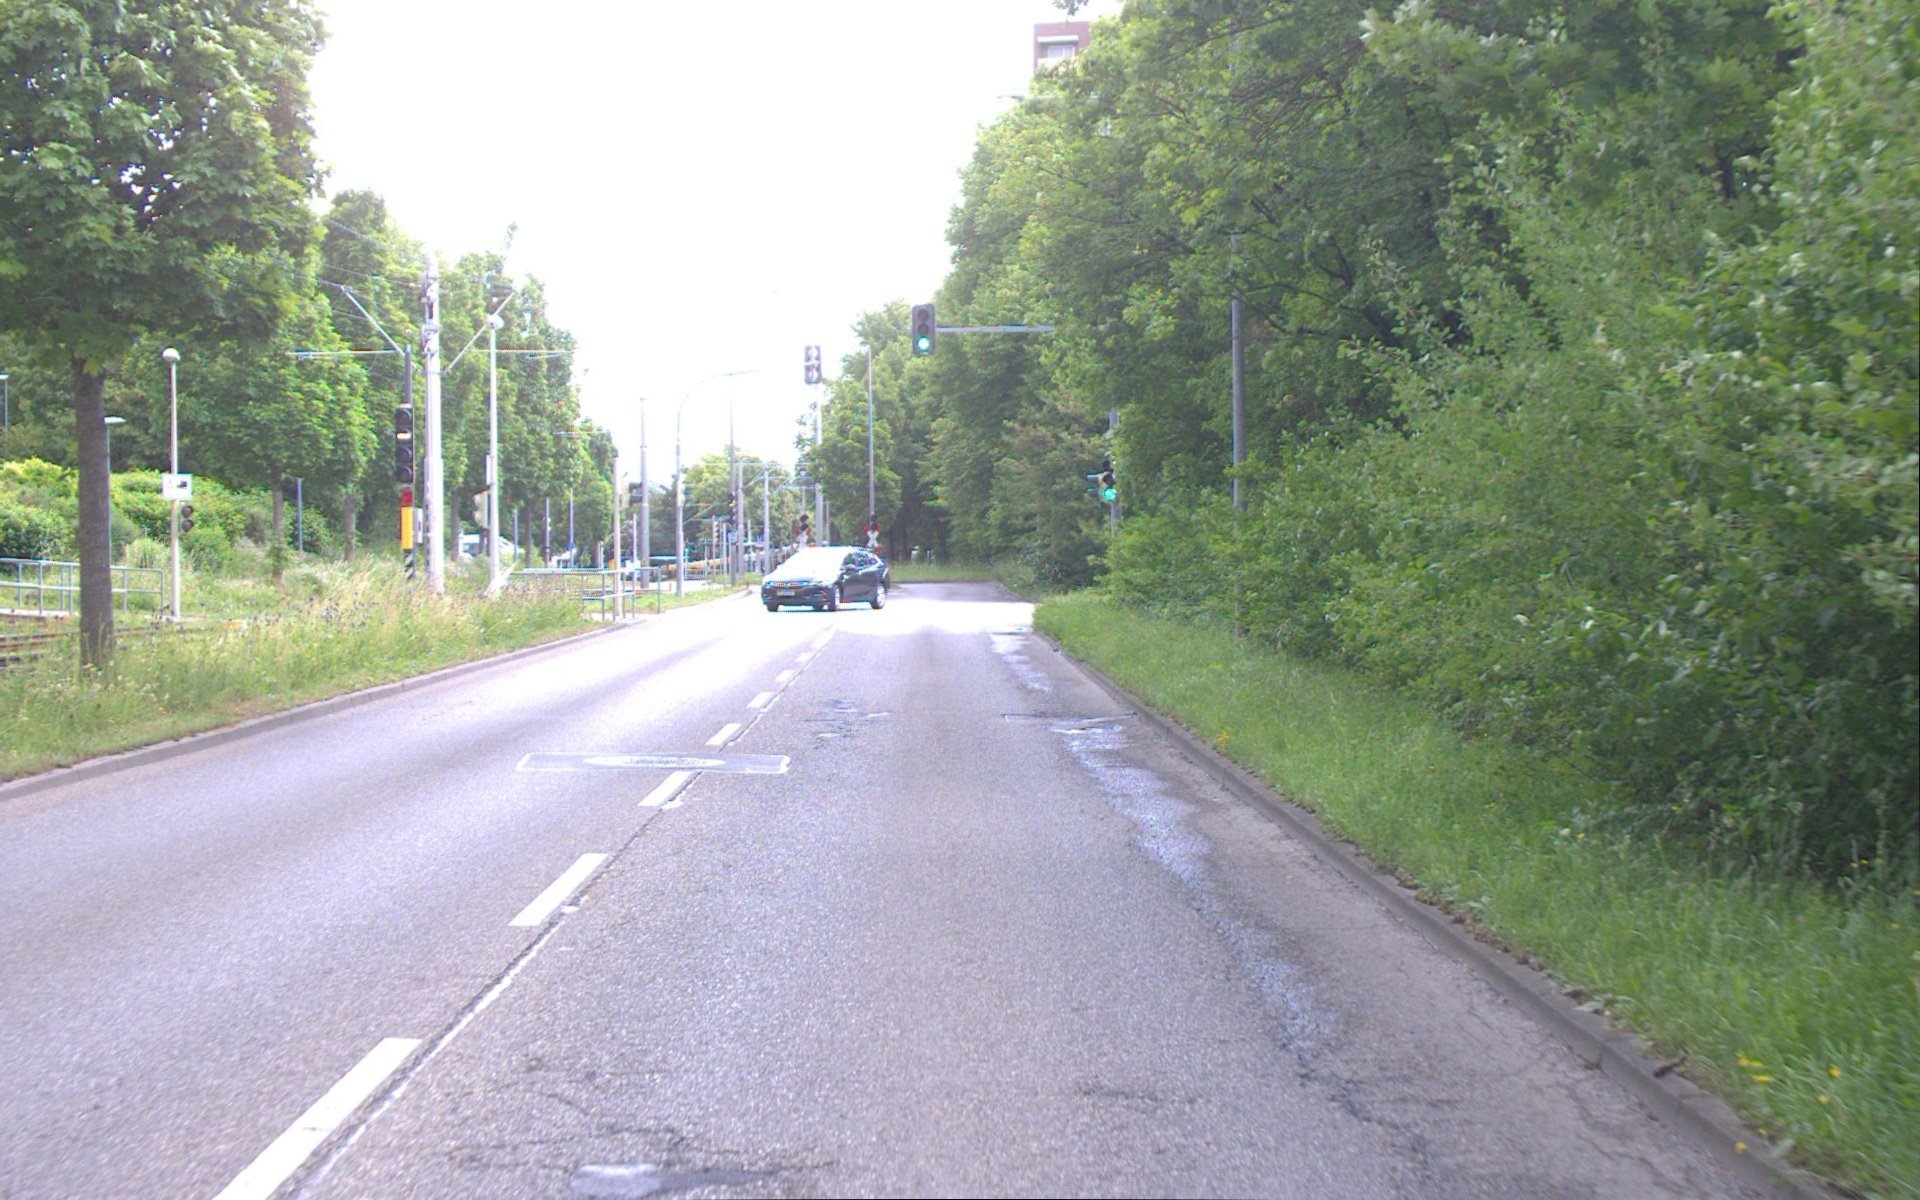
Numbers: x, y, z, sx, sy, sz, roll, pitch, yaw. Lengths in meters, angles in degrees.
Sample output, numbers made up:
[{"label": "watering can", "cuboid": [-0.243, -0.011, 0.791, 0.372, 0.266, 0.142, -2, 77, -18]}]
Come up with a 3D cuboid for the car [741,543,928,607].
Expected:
[{"label": "car", "cuboid": [-2.933, -0.603, 81.064, 4.244, 1.465, 1.855, -1, 2, -44]}]
